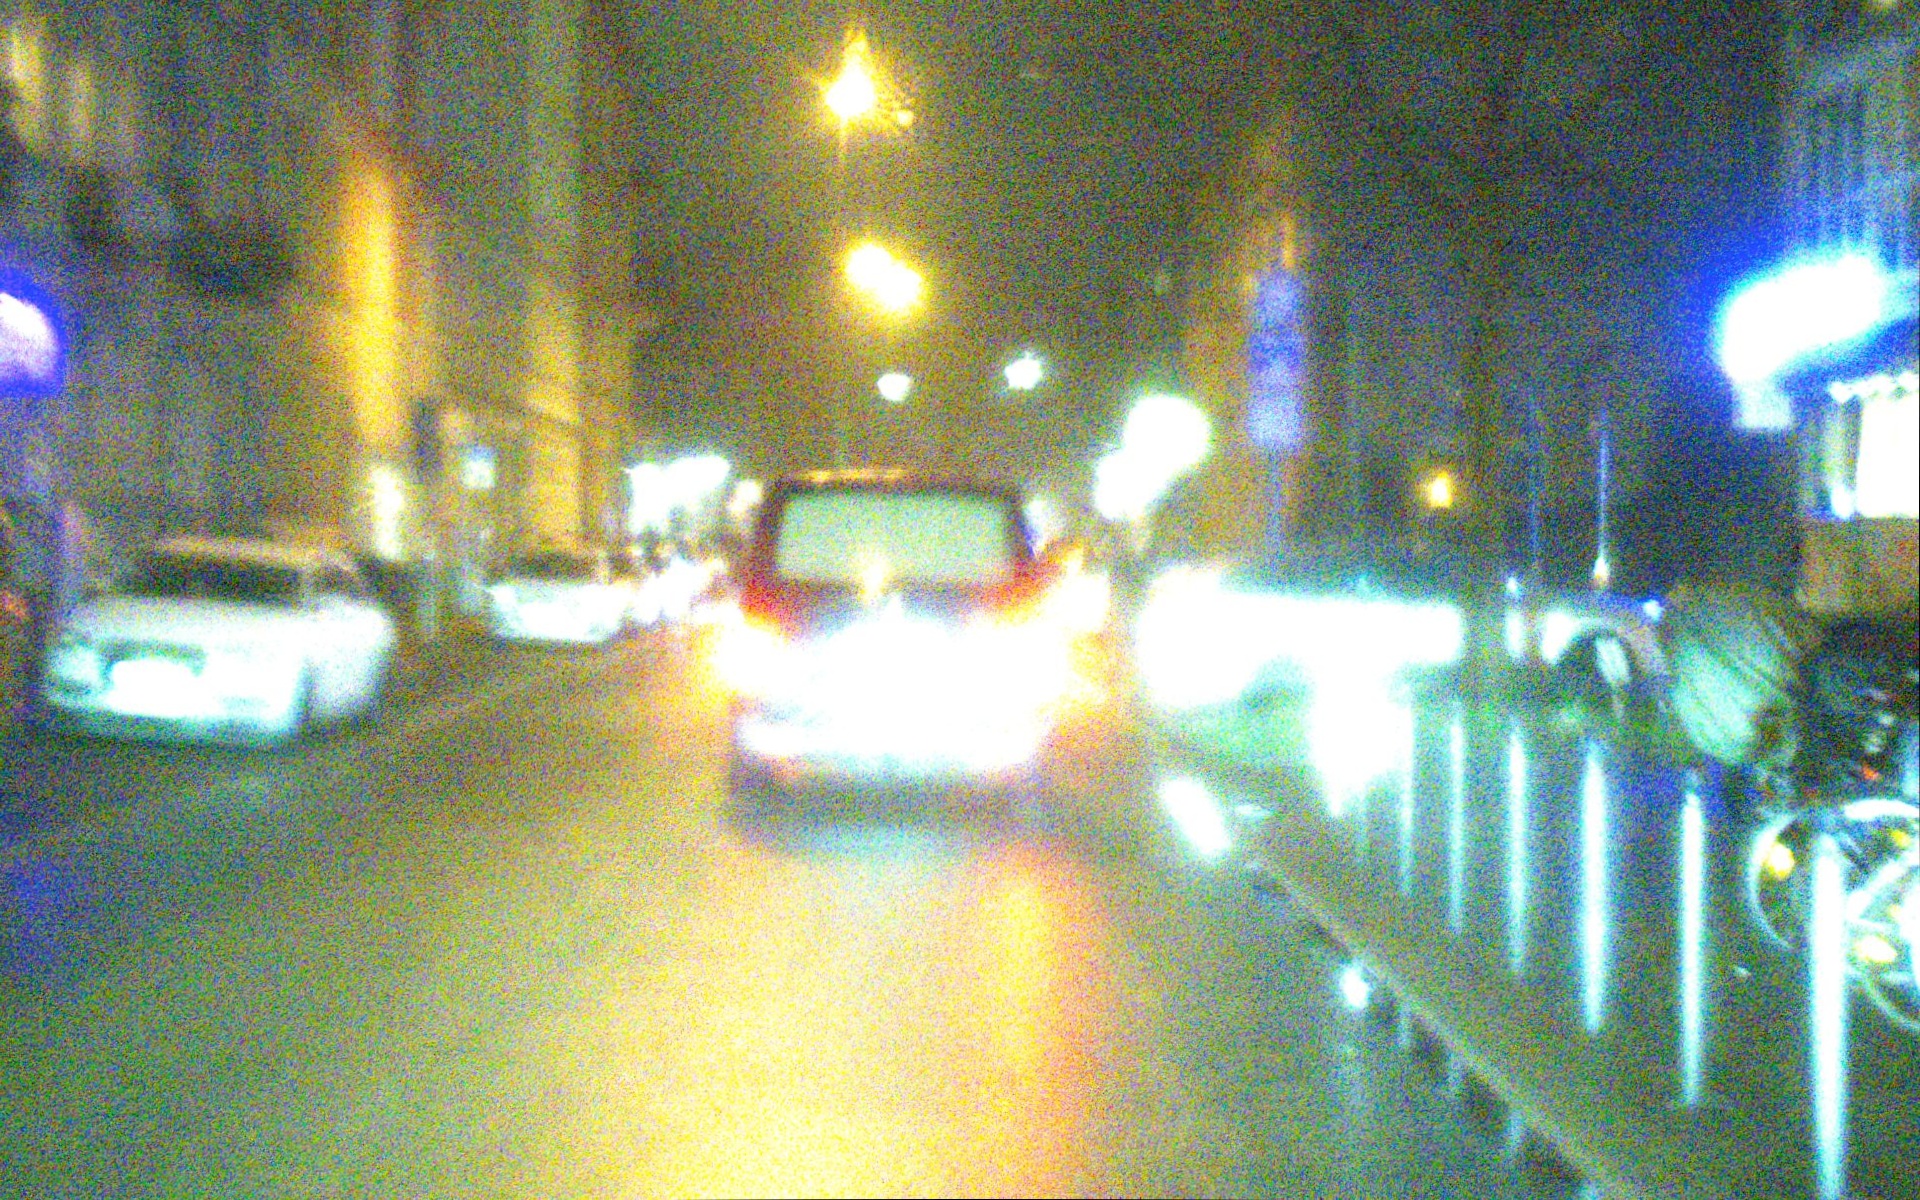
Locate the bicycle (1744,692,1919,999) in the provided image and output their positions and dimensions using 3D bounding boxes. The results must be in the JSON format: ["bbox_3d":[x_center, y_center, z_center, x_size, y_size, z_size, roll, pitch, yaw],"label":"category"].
[{"bbox_3d":[3.452,0.772,11.450,1.529,0.949,0.366,-5,0,7],"label":"bicycle"}]

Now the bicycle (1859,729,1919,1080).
[{"bbox_3d":[3.369,0.785,9.638,1.528,0.949,0.366,-5,0,-4],"label":"bicycle"}]

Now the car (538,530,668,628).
[{"bbox_3d":[-5.905,-0.377,57.205,1.774,1.567,4.135,0,1,-1],"label":"car"}]

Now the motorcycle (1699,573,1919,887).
[{"bbox_3d":[4.565,0.532,15.573,2.172,1.314,0.867,-4,1,-1],"label":"motorcycle"}]

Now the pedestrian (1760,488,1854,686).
[{"bbox_3d":[7.749,-0.127,31.472,0.703,1.782,0.624,-1,2,3],"label":"pedestrian"}]

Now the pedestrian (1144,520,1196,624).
[{"bbox_3d":[3.718,-0.505,61.034,0.862,1.782,1.083,-1,2,3],"label":"pedestrian"}]

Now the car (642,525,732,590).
[{"bbox_3d":[-6.505,-1.038,82.315,1.832,1.481,4.595,1,1,0],"label":"car"}]

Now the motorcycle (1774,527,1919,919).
[{"bbox_3d":[4.605,0.436,14.235,2.172,1.542,0.867,-4,1,-1],"label":"motorcycle"}]

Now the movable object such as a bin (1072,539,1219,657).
[{"bbox_3d":[2.288,-0.034,42.408,1.337,1.424,1.201,0,1,-37],"label":"movable object such as a bin"}]

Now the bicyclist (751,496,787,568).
[{"bbox_3d":[-4.164,-1.486,74.985,0.718,1.551,0.895,0,1,-1],"label":"bicyclist"}]

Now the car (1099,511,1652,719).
[{"bbox_3d":[3.546,0.110,29.923,4.512,1.525,1.780,-3,1,-1],"label":"car"}]

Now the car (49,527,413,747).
[{"bbox_3d":[-5.653,0.218,27.248,1.767,1.478,4.772,4,1,0],"label":"car"}]

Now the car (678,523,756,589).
[{"bbox_3d":[-6.571,-1.209,93.299,1.832,1.711,4.595,1,1,0],"label":"car"}]

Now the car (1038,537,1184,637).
[{"bbox_3d":[2.282,-0.239,52.917,1.993,1.459,4.417,0,1,-1],"label":"car"}]

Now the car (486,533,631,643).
[{"bbox_3d":[-5.786,-0.200,49.880,1.672,1.486,3.722,2,1,-1],"label":"car"}]

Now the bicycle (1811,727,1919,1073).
[{"bbox_3d":[3.345,0.810,10.084,1.528,0.949,0.366,-5,0,-4],"label":"bicycle"}]

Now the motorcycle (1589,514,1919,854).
[{"bbox_3d":[4.464,0.386,17.445,2.288,1.583,0.867,-4,1,-1],"label":"motorcycle"}]

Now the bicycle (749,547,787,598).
[{"bbox_3d":[-4.182,-0.613,75.002,0.727,1.069,2.348,0,1,-1],"label":"bicycle"}]

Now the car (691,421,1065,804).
[{"bbox_3d":[-0.442,0.012,20.831,1.996,2.042,4.694,1,1,0],"label":"car"}]

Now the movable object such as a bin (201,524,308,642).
[{"bbox_3d":[-8.908,-0.225,43.470,1.101,1.449,1.379,-1,1,-2],"label":"movable object such as a bin"}]

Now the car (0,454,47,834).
[{"bbox_3d":[-5.596,0.246,14.694,1.996,1.823,5.207,1,1,0],"label":"car"}]

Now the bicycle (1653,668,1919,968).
[{"bbox_3d":[3.325,0.725,12.015,1.670,0.949,0.366,-5,0,7],"label":"bicycle"}]

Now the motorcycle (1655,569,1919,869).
[{"bbox_3d":[4.551,0.525,16.505,2.172,1.314,0.867,-4,1,-1],"label":"motorcycle"}]
